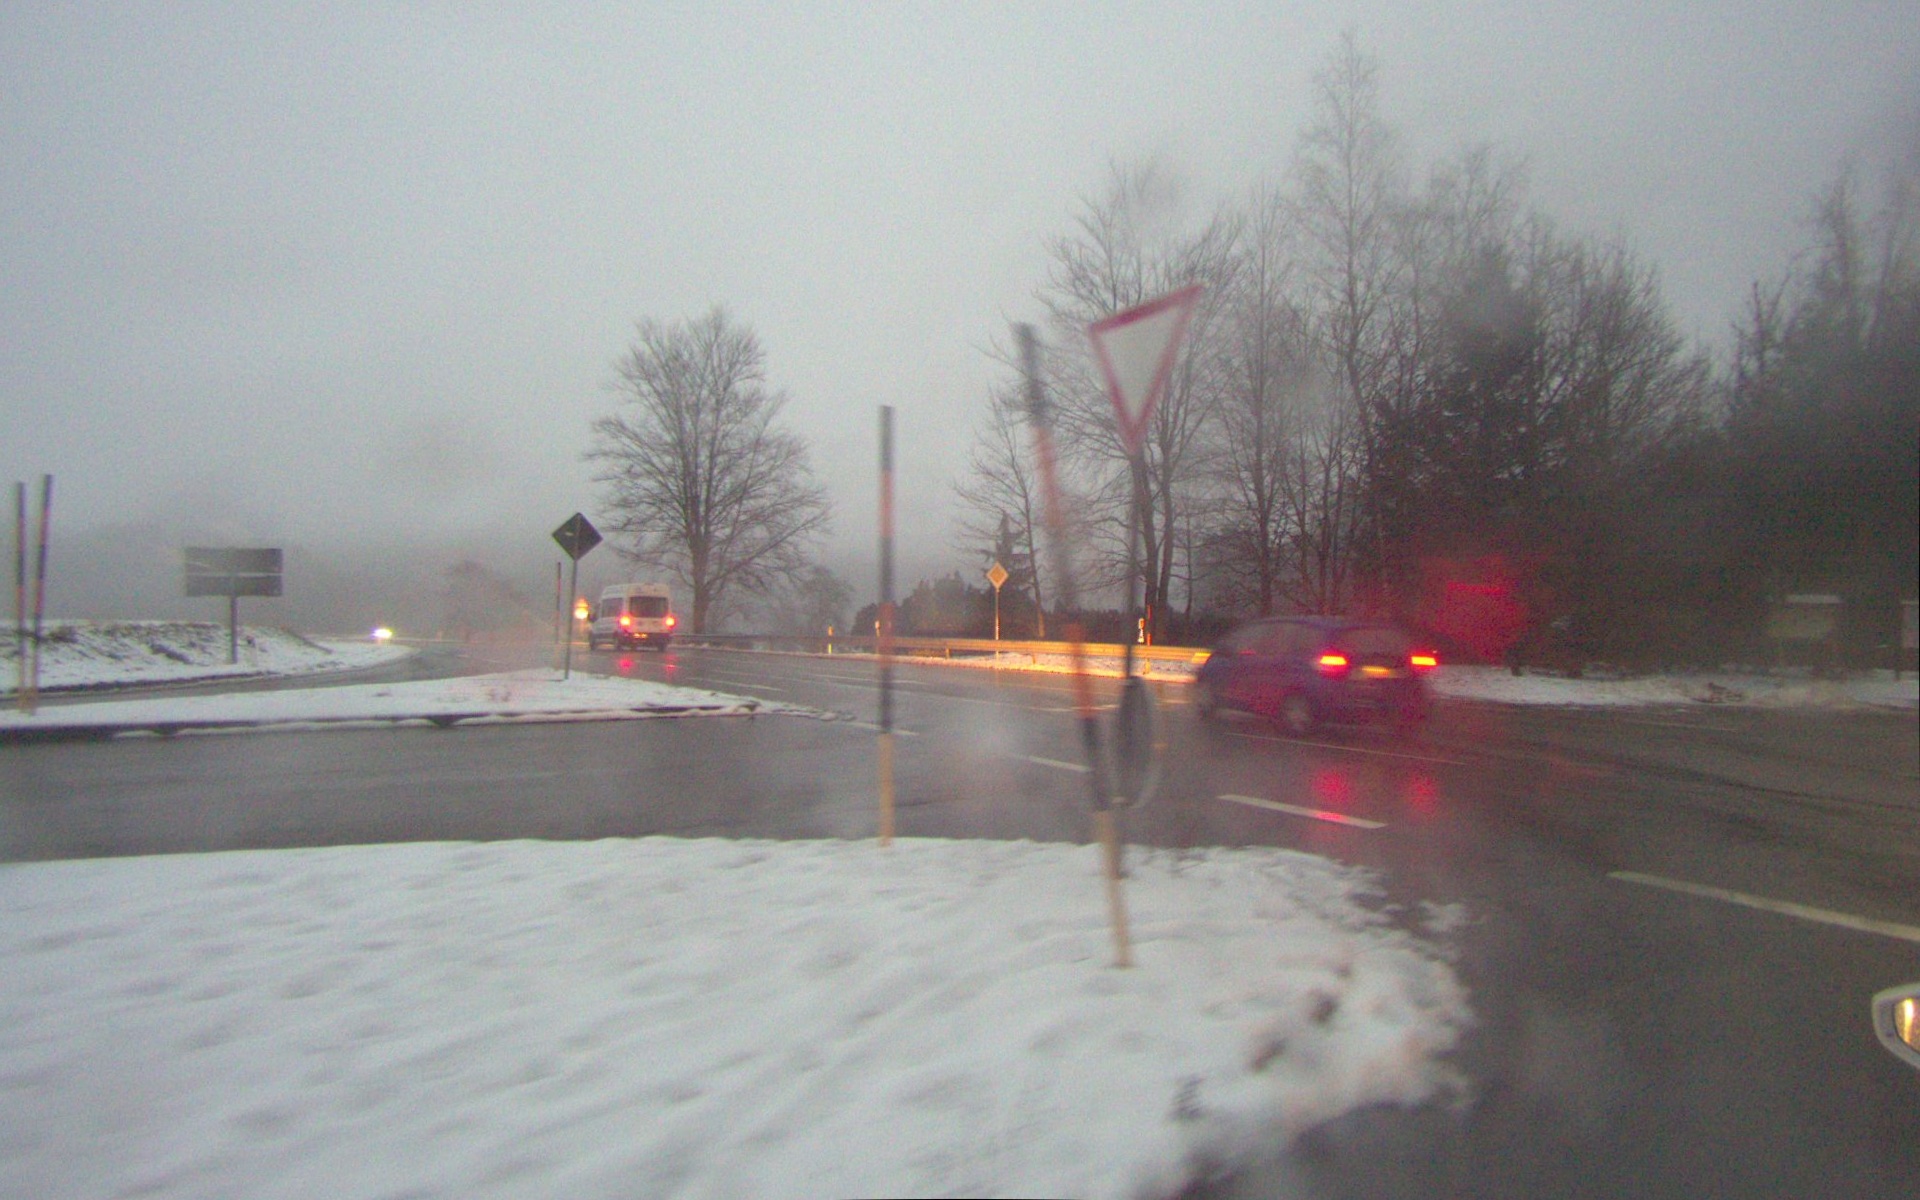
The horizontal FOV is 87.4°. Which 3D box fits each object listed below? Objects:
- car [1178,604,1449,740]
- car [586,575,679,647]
[{"bbox_3d":[4.607,0.899,13.725,1.669,1.572,3.846,2,-2,-13],"label":"car"},{"bbox_3d":[-13.692,0.395,41.763,2.132,2.731,5.475,3,0,-35],"label":"car"}]
